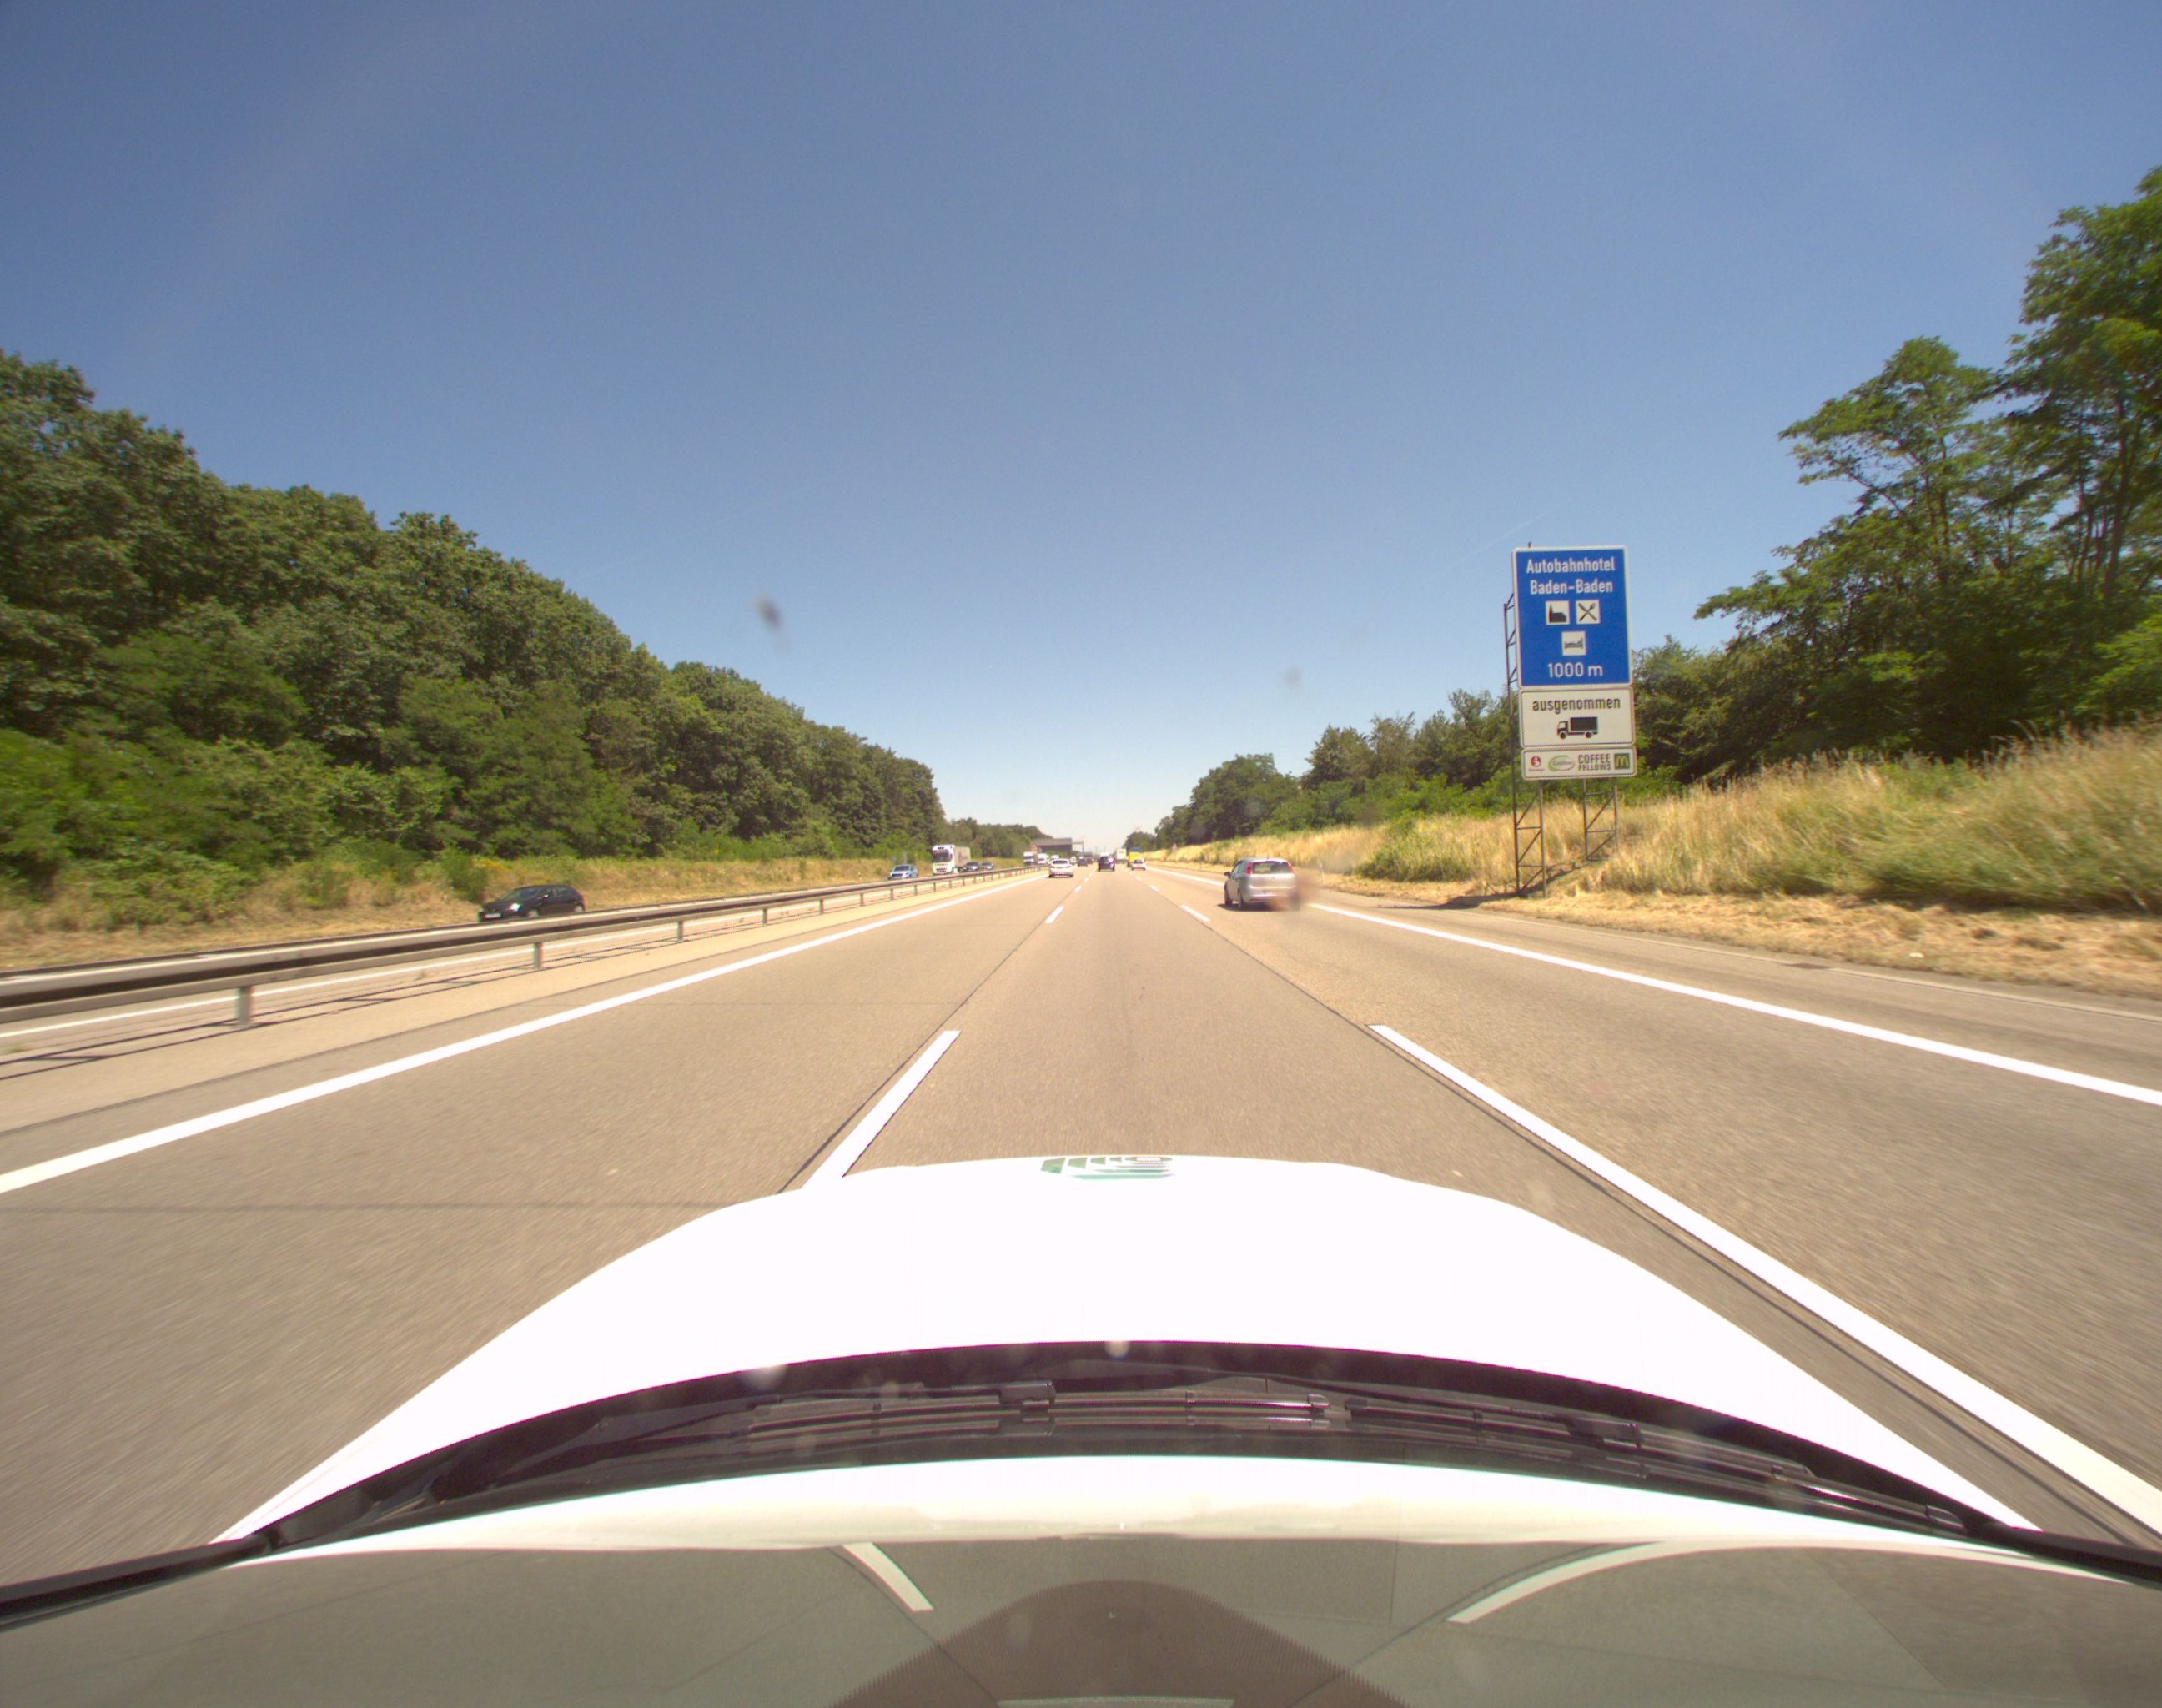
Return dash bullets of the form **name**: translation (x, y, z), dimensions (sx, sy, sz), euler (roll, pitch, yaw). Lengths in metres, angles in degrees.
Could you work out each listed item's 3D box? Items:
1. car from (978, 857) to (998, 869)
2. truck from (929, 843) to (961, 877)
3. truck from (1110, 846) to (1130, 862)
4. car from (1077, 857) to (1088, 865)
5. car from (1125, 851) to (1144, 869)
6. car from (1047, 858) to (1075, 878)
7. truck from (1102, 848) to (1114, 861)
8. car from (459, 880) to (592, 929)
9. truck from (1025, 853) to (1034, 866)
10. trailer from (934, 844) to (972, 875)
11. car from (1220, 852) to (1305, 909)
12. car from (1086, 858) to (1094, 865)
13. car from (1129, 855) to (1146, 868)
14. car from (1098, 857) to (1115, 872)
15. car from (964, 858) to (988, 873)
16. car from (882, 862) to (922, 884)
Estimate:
- **car**: translation (-13.306, 1.330, 117.120), dimensions (1.986, 1.567, 5.192), euler (-4, 0, 2)
- **truck**: translation (-17.829, 0.771, 106.749), dimensions (2.894, 4.067, 5.654), euler (-4, 0, 1)
- **truck**: translation (10.372, 0.062, 218.150), dimensions (3.986, 4.315, 9.863), euler (1, 0, -5)
- **car**: translation (0.357, 1.261, 149.429), dimensions (1.825, 1.431, 5.001), euler (-1, 0, 2)
- **car**: translation (8.277, 0.903, 126.436), dimensions (2.658, 2.634, 6.112), euler (-1, -1, 0)
- **car**: translation (-1.550, 1.111, 65.196), dimensions (1.956, 1.503, 5.406), euler (-1, 0, 1)
- **truck**: translation (6.099, 0.100, 185.970), dimensions (2.421, 2.884, 6.204), euler (-1, -1, 0)
- **car**: translation (-19.825, 1.746, 29.301), dimensions (1.807, 1.395, 4.113), euler (-4, 0, 2)
- **truck**: translation (-14.226, 1.557, 224.271), dimensions (2.111, 3.344, 4.001), euler (-2, 0, 1)
- **trailer**: translation (-17.714, 0.766, 113.792), dimensions (2.901, 3.992, 12.959), euler (-4, 0, 1)
- **car**: translation (5.194, 0.710, 23.691), dimensions (1.713, 1.491, 3.738), euler (-1, 1, 1)
- **car**: translation (2.169, 1.789, 199.701), dimensions (1.868, 1.580, 3.931), euler (-1, 1, 3)
- **car**: translation (6.805, 0.892, 98.667), dimensions (1.815, 1.492, 3.736), euler (-1, -1, 0)
- **car**: translation (2.866, 1.159, 92.662), dimensions (1.826, 1.672, 3.999), euler (0, 0, 0)
- **car**: translation (-12.669, 1.375, 98.840), dimensions (1.986, 1.567, 5.192), euler (-4, 0, 2)
- **car**: translation (-14.601, 1.495, 66.610), dimensions (1.986, 1.567, 4.530), euler (-4, 0, 2)
